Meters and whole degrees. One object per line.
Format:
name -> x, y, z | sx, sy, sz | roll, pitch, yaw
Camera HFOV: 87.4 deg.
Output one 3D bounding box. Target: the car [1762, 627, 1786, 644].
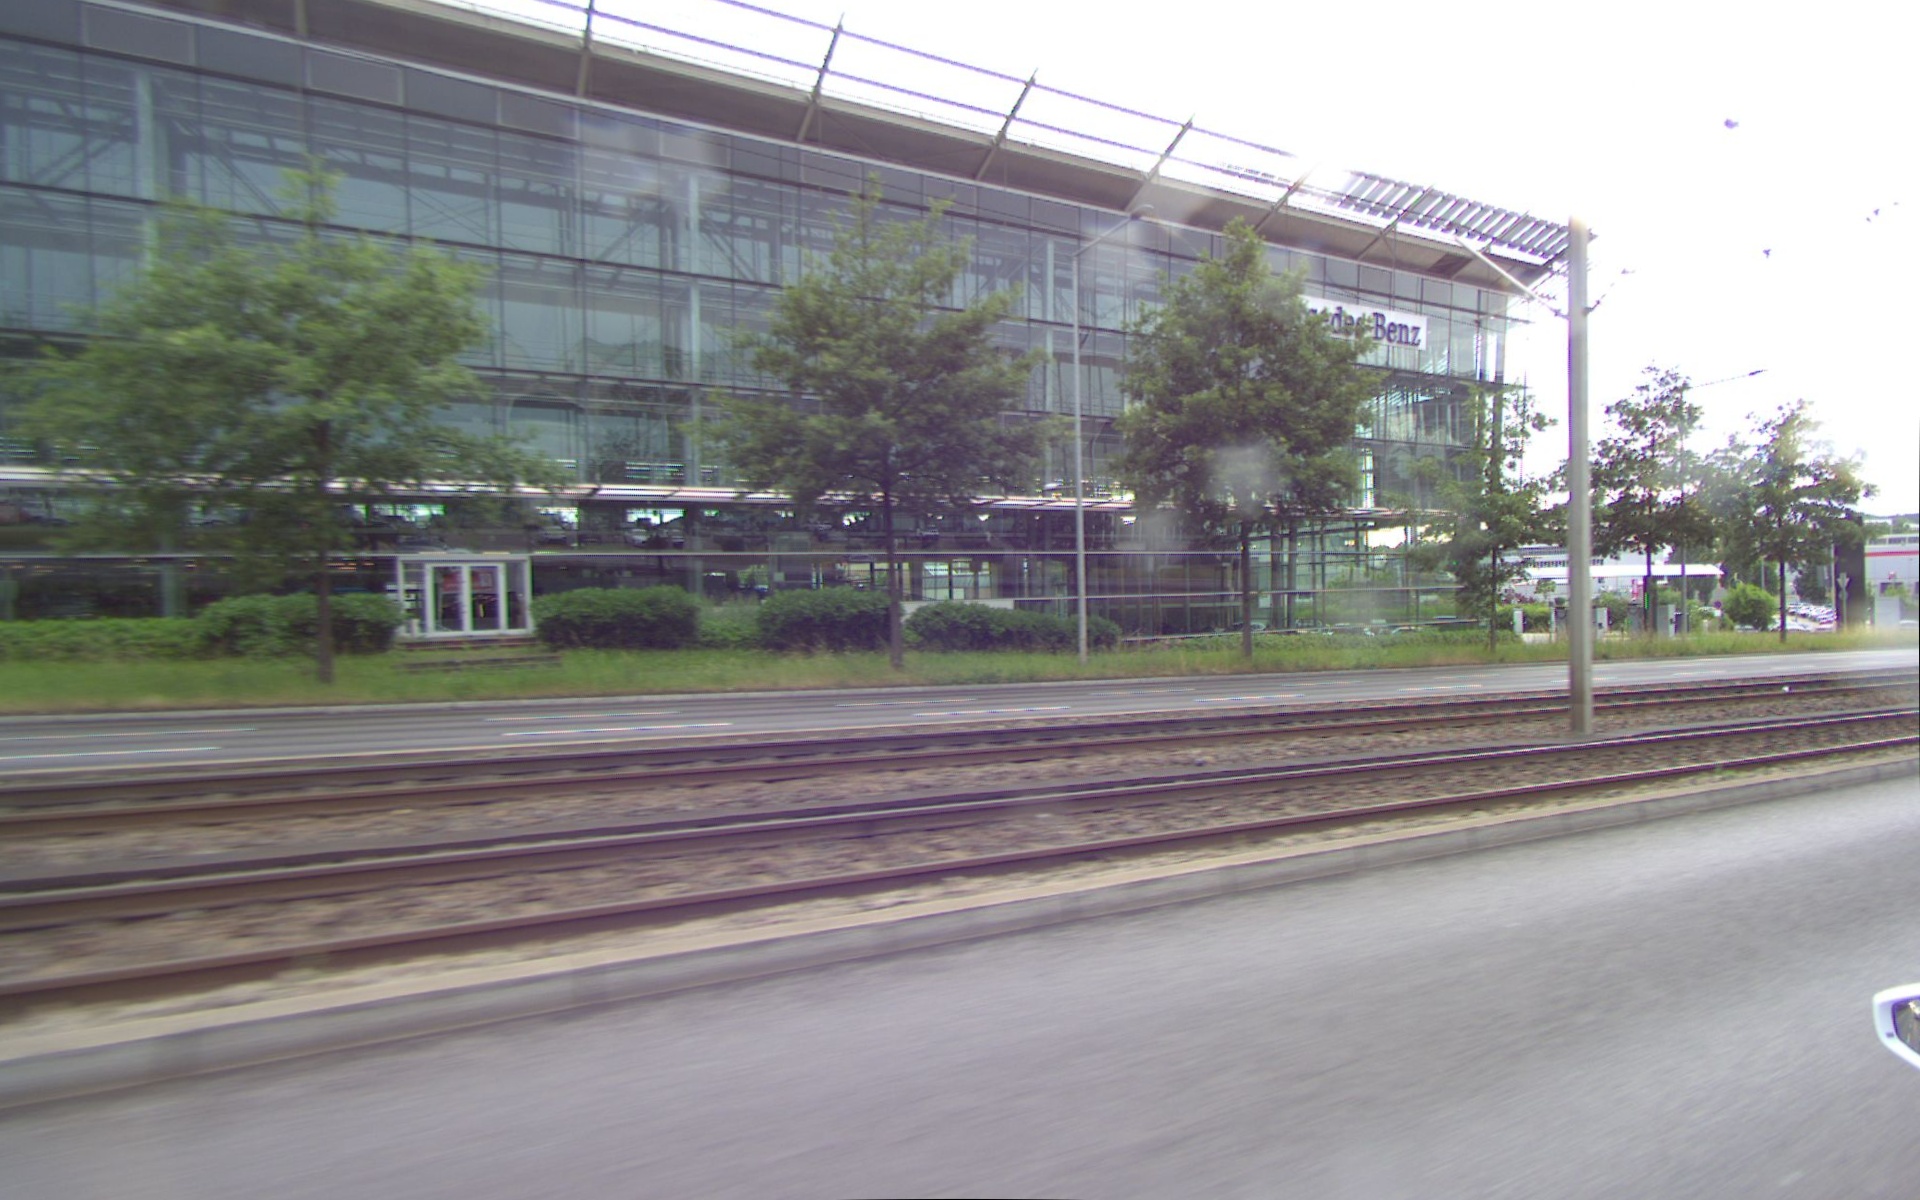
car -> 79.134, 3.442, 97.671 | 1.730, 1.514, 3.982 | 2, 0, 39
